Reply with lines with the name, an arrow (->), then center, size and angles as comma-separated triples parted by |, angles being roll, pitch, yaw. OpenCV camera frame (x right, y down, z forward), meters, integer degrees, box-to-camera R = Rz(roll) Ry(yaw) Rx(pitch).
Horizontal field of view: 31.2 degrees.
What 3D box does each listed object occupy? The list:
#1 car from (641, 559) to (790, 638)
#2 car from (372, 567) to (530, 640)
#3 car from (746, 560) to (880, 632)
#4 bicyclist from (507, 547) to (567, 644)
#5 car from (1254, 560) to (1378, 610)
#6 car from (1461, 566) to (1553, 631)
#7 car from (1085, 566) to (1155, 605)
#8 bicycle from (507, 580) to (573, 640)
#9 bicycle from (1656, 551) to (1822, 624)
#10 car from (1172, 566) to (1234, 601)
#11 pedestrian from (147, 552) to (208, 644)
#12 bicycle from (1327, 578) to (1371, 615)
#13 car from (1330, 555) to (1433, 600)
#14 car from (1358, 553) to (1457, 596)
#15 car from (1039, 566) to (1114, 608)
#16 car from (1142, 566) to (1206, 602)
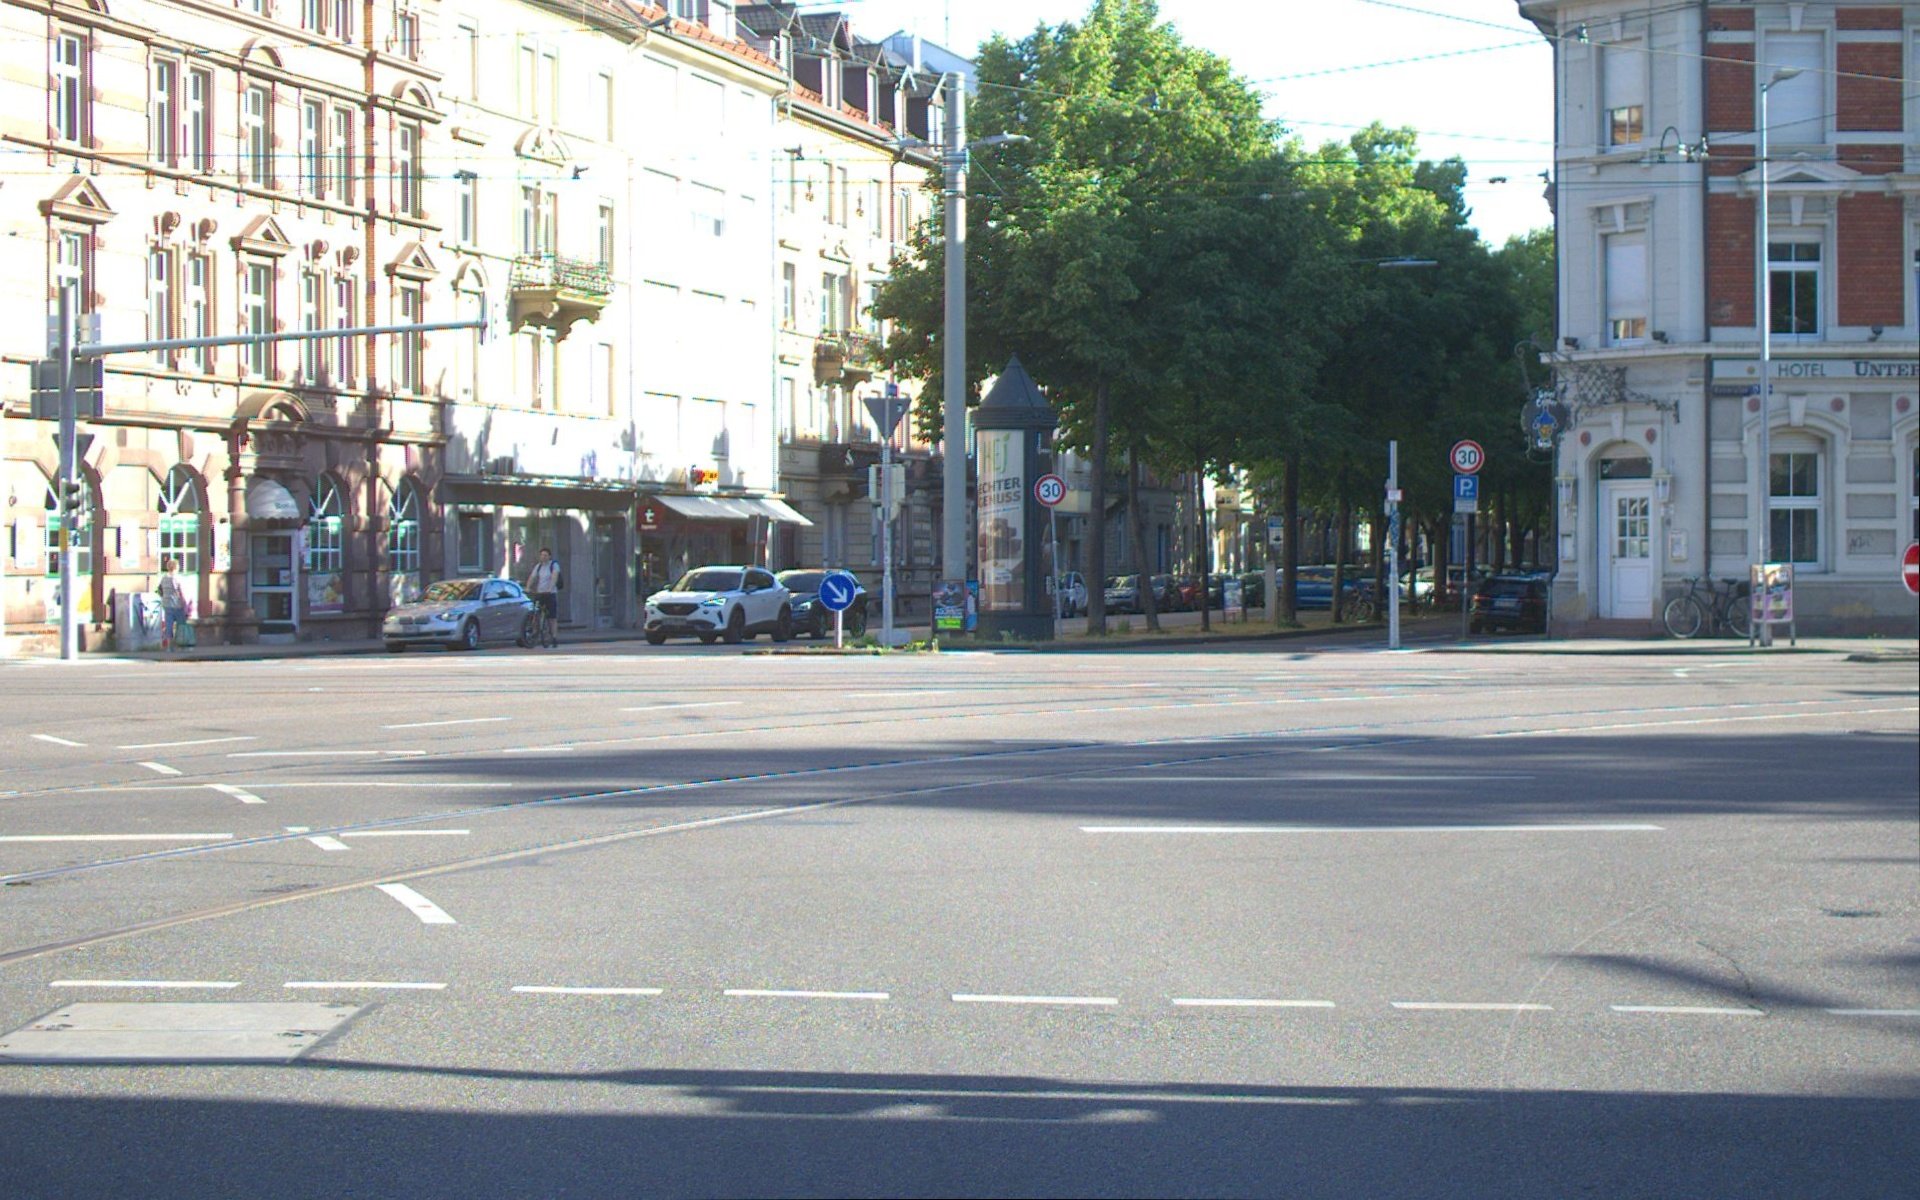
car -> -4.757, -0.054, 67.318 | 1.678, 1.478, 3.768 | 0, 1, 16
car -> -9.868, 0.053, 66.914 | 1.678, 1.349, 3.588 | 0, 1, 17
car -> -3.116, -0.104, 73.620 | 1.678, 1.478, 3.945 | 0, 1, 16
bicyclist -> -8.010, -0.090, 65.143 | 0.779, 1.797, 1.055 | 1, 0, 14
car -> 11.993, -0.513, 115.684 | 3.905, 1.642, 1.681 | 0, 1, 17
car -> 13.153, -0.059, 82.580 | 1.678, 1.478, 3.945 | 0, 1, 16
car -> 5.705, -0.515, 122.446 | 1.678, 1.349, 3.588 | 0, 1, 17
bicycle -> -7.974, 0.183, 65.269 | 0.702, 1.114, 1.634 | 1, 1, 13
bicycle -> 12.975, -0.208, 57.281 | 2.554, 1.170, 0.819 | 1, 0, -3
car -> 9.612, -0.658, 135.783 | 1.678, 1.349, 3.588 | 0, 1, 17
pedestrian -> -14.333, -0.048, 62.976 | 0.776, 1.664, 0.830 | 1, 0, 15
bicycle -> 11.263, -0.106, 99.489 | 0.636, 1.018, 1.847 | 1, 1, -14
car -> 15.713, -0.850, 128.039 | 3.582, 1.642, 1.681 | 0, 1, 17
car -> 17.387, -1.005, 133.513 | 3.582, 1.642, 1.681 | 0, 1, 17
car -> 3.934, -0.448, 115.484 | 1.678, 1.349, 3.588 | 0, 1, 17
car -> 8.140, -0.619, 130.753 | 1.678, 1.349, 3.588 | 0, 1, 17
